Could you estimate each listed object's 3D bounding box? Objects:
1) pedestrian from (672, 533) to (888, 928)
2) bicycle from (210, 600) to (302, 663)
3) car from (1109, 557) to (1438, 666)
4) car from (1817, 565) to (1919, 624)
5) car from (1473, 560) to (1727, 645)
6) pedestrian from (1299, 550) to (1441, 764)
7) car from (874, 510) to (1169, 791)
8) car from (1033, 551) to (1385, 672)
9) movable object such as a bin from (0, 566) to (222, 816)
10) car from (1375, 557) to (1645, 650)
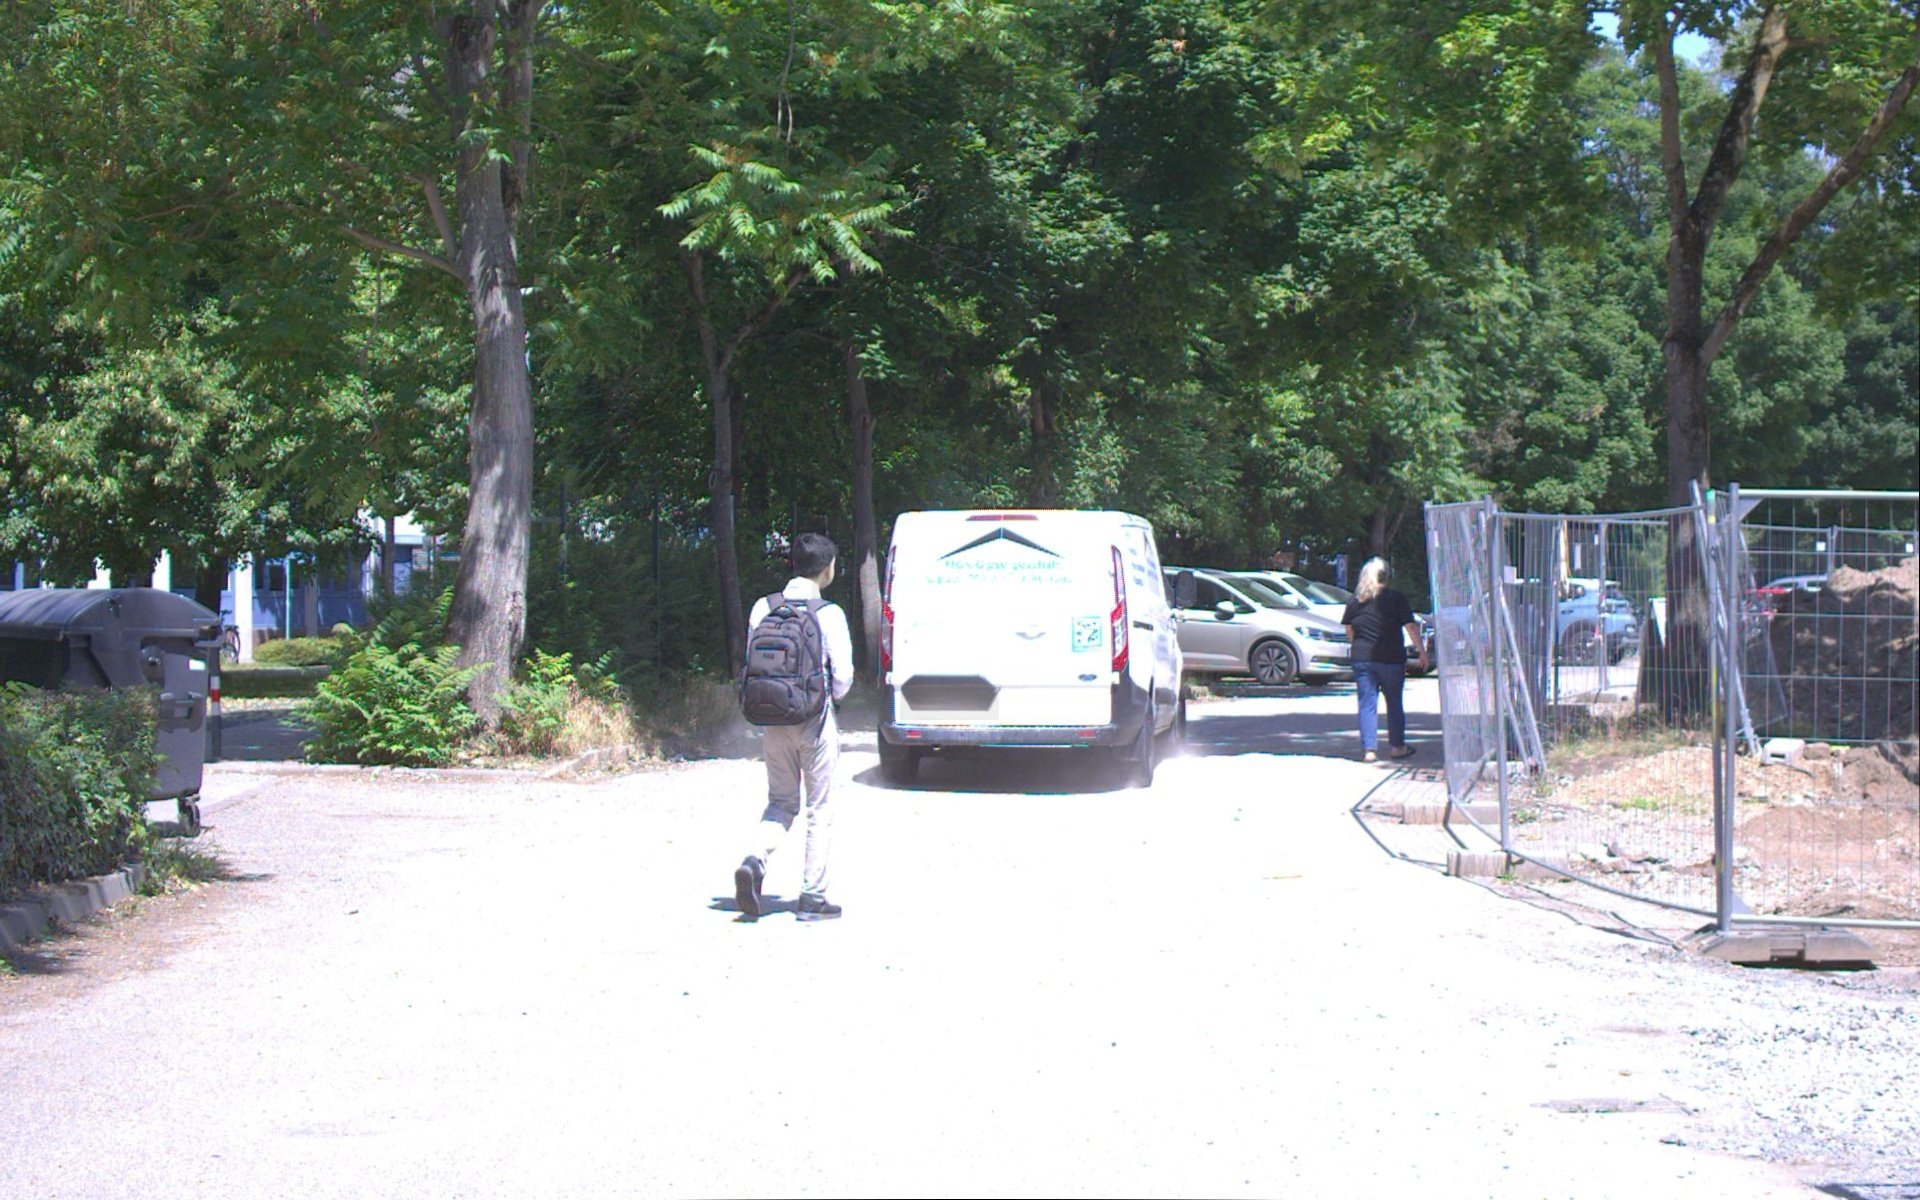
[{"bbox_3d":[-0.800,0.559,15.605,0.874,1.723,1.080,0,1,3],"label":"pedestrian"},{"bbox_3d":[-12.477,0.545,61.019,0.600,1.081,1.937,0,1,23],"label":"bicycle"},{"bbox_3d":[4.624,0.139,50.732,4.512,1.526,1.723,1,1,25],"label":"car"},{"bbox_3d":[26.015,-0.163,94.535,4.512,1.592,1.723,1,1,25],"label":"car"},{"bbox_3d":[12.490,0.023,67.141,4.512,1.592,1.934,1,1,26],"label":"car"},{"bbox_3d":[3.258,0.431,27.258,1.036,1.644,1.048,0,1,11],"label":"pedestrian"},{"bbox_3d":[0.564,0.320,26.142,1.973,1.940,4.580,0,1,4],"label":"car"},{"bbox_3d":[3.505,0.161,48.461,4.512,1.604,1.997,1,-1,26],"label":"car"},{"bbox_3d":[-5.096,0.504,20.064,1.113,1.389,1.160,-1,1,-41],"label":"movable object such as a bin"},{"bbox_3d":[9.931,0.036,62.141,4.512,1.592,1.723,1,1,25],"label":"car"}]
